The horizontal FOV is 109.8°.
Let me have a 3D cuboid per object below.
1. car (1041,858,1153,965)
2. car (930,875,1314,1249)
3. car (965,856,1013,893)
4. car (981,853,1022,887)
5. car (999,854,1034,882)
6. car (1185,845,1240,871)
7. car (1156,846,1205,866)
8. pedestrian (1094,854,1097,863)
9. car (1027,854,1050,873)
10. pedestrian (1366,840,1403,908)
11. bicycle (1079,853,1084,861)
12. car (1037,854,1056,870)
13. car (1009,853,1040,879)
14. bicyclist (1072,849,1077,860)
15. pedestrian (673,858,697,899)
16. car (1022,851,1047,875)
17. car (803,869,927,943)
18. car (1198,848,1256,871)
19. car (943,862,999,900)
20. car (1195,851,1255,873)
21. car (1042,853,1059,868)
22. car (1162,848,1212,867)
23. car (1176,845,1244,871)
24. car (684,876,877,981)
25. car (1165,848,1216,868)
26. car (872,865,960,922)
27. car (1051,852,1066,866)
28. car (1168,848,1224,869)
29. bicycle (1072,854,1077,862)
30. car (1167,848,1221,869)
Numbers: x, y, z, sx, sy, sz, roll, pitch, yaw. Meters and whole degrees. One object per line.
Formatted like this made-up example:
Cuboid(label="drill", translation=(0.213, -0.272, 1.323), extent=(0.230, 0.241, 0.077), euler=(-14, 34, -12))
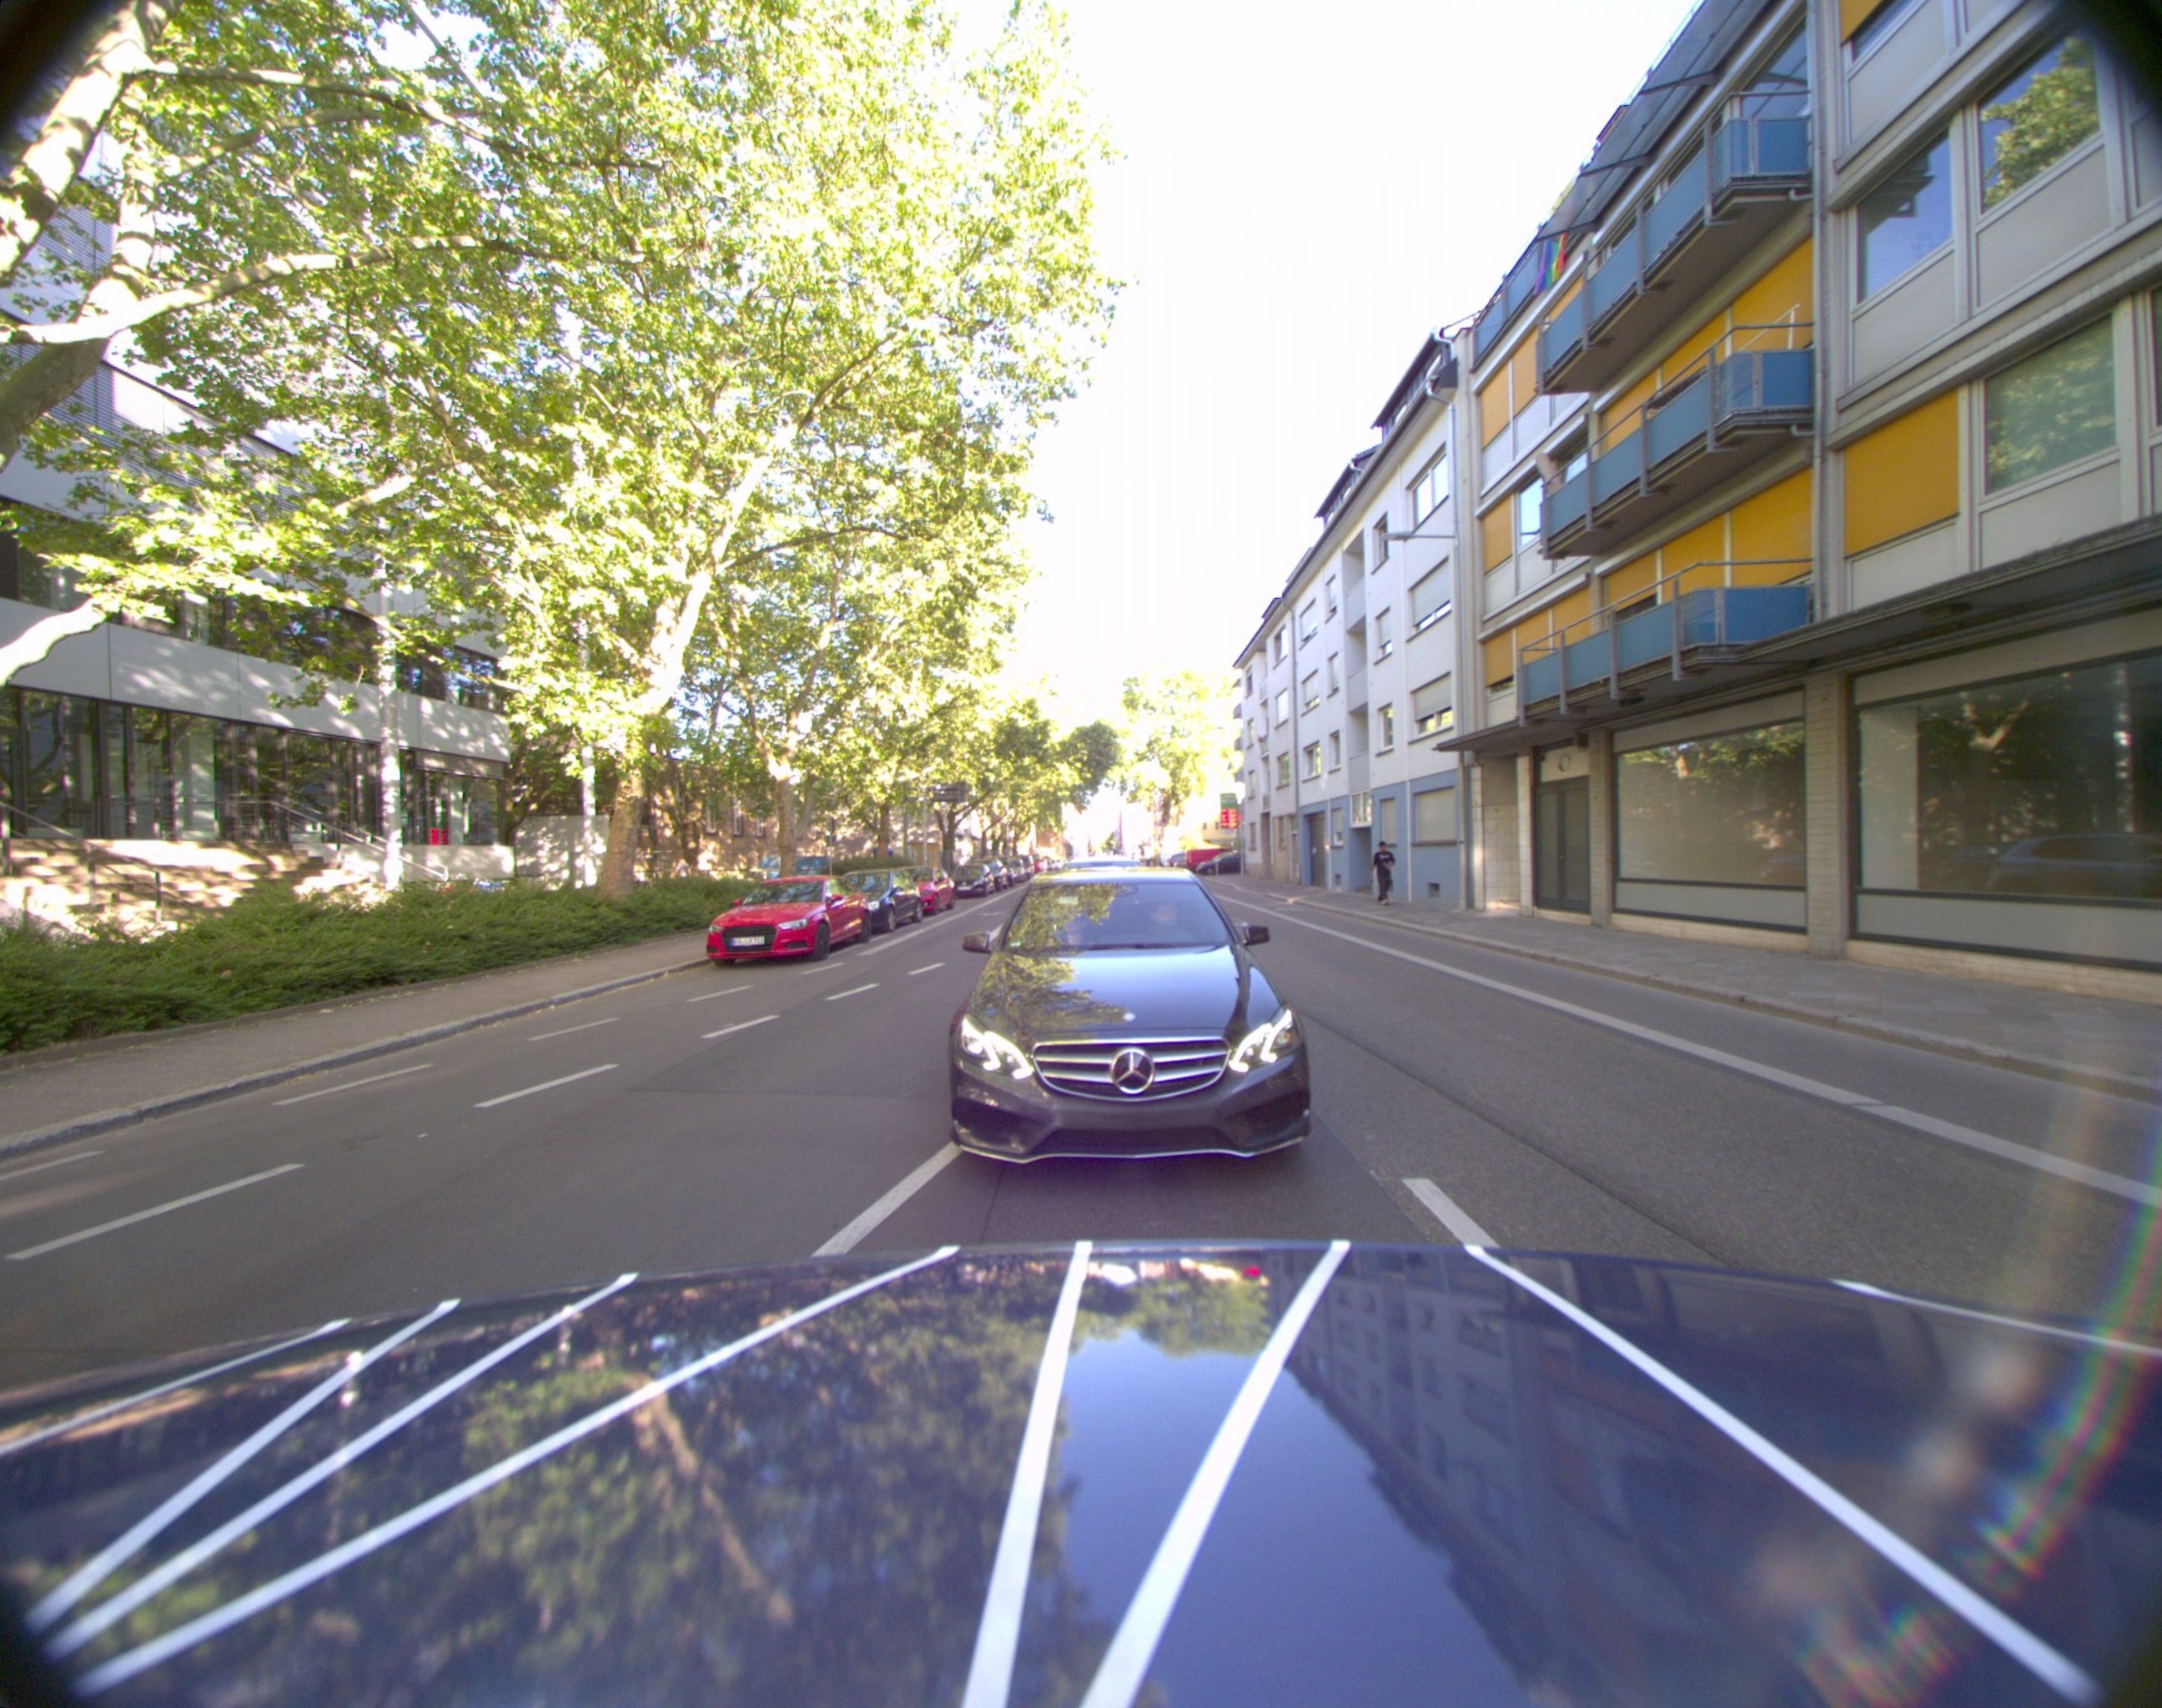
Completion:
Cuboid(label="car", translation=(0.269, 0.887, 13.619), extent=(1.667, 1.563, 4.000), euler=(-1, 0, 1))
Cuboid(label="car", translation=(0.210, 0.984, 5.367), extent=(1.667, 1.499, 4.000), euler=(-1, 0, 1))
Cuboid(label="car", translation=(-4.564, 0.977, 38.273), extent=(1.755, 1.644, 4.174), euler=(-3, 0, 1))
Cuboid(label="car", translation=(-4.555, 0.872, 44.072), extent=(1.755, 1.810, 4.447), euler=(-3, 0, 1))
Cuboid(label="car", translation=(-4.274, 0.882, 50.955), extent=(1.755, 1.718, 4.447), euler=(-3, 0, 1))
Cuboid(label="car", translation=(10.330, 0.301, 60.090), extent=(3.997, 1.926, 1.867), euler=(-2, 0, 1))
Cuboid(label="car", translation=(11.188, 0.201, 85.531), extent=(5.143, 2.135, 2.187), euler=(-2, 0, 1))
Cuboid(label="pedestrian", translation=(3.338, 1.072, 172.642), extent=(0.616, 2.002, 0.691), euler=(-2, 1, 1))
Cuboid(label="car", translation=(-4.004, 0.905, 72.185), extent=(1.755, 1.652, 4.447), euler=(-3, 0, 1))
Cuboid(label="pedestrian", translation=(8.136, 0.521, 20.407), extent=(0.663, 1.761, 0.793), euler=(-2, 1, 5))
Cuboid(label="bicycle", translation=(0.105, 0.385, 104.669), extent=(0.574, 1.053, 1.595), euler=(-2, 0, 1))
Cuboid(label="car", translation=(-3.778, 0.872, 83.525), extent=(1.755, 1.652, 4.447), euler=(-3, 0, 1))
Cuboid(label="car", translation=(-4.104, 0.823, 55.766), extent=(1.755, 1.753, 4.447), euler=(-3, 0, 1))
Cuboid(label="bicyclist", translation=(-0.935, 0.067, 104.689), extent=(0.650, 1.427, 0.741), euler=(-2, 1, 1))
Cuboid(label="pedestrian", translation=(-16.232, 0.993, 31.172), extent=(0.525, 1.660, 0.661), euler=(-2, 1, 2))
Cuboid(label="car", translation=(-3.998, 0.730, 66.399), extent=(1.755, 1.941, 4.447), euler=(-3, 0, 1))
Cuboid(label="car", translation=(-5.086, 1.174, 18.453), extent=(1.755, 1.424, 3.909), euler=(-3, 0, 1))
Cuboid(label="car", translation=(10.911, 0.391, 57.001), extent=(3.997, 1.552, 1.743), euler=(-2, 0, 1))
Cuboid(label="car", translation=(-4.751, 1.119, 33.303), extent=(1.755, 1.424, 3.909), euler=(-3, 0, 1))
Cuboid(label="car", translation=(10.355, 0.563, 54.791), extent=(3.997, 1.412, 1.743), euler=(-2, 0, 1))
Cuboid(label="car", translation=(-3.650, 0.775, 92.963), extent=(1.755, 1.652, 4.447), euler=(-3, 0, 1))
Cuboid(label="car", translation=(11.321, 0.348, 81.195), extent=(5.042, 1.926, 2.315), euler=(-2, 0, 1))
Cuboid(label="car", translation=(10.635, 0.294, 63.115), extent=(5.223, 1.969, 2.257), euler=(-2, 0, 1))
Cuboid(label="car", translation=(-5.126, 1.196, 13.607), extent=(1.755, 1.400, 4.000), euler=(-3, 0, 1))
Cuboid(label="car", translation=(11.285, 0.373, 78.729), extent=(4.991, 1.926, 2.083), euler=(-2, 0, 1))
Cuboid(label="car", translation=(-5.036, 1.148, 23.665), extent=(1.755, 1.459, 3.909), euler=(-3, 0, 1))
Cuboid(label="car", translation=(-3.017, 0.651, 103.213), extent=(1.755, 1.652, 4.447), euler=(-3, 0, 1))
Cuboid(label="car", translation=(11.098, 0.443, 73.531), extent=(5.143, 1.926, 2.187), euler=(-2, 0, 1))
Cuboid(label="bicycle", translation=(-0.919, 0.596, 104.705), extent=(0.650, 1.053, 1.595), euler=(-2, 0, 1))
Cuboid(label="car", translation=(11.270, 0.405, 76.231), extent=(5.054, 1.926, 2.161), euler=(-2, 0, 1))
